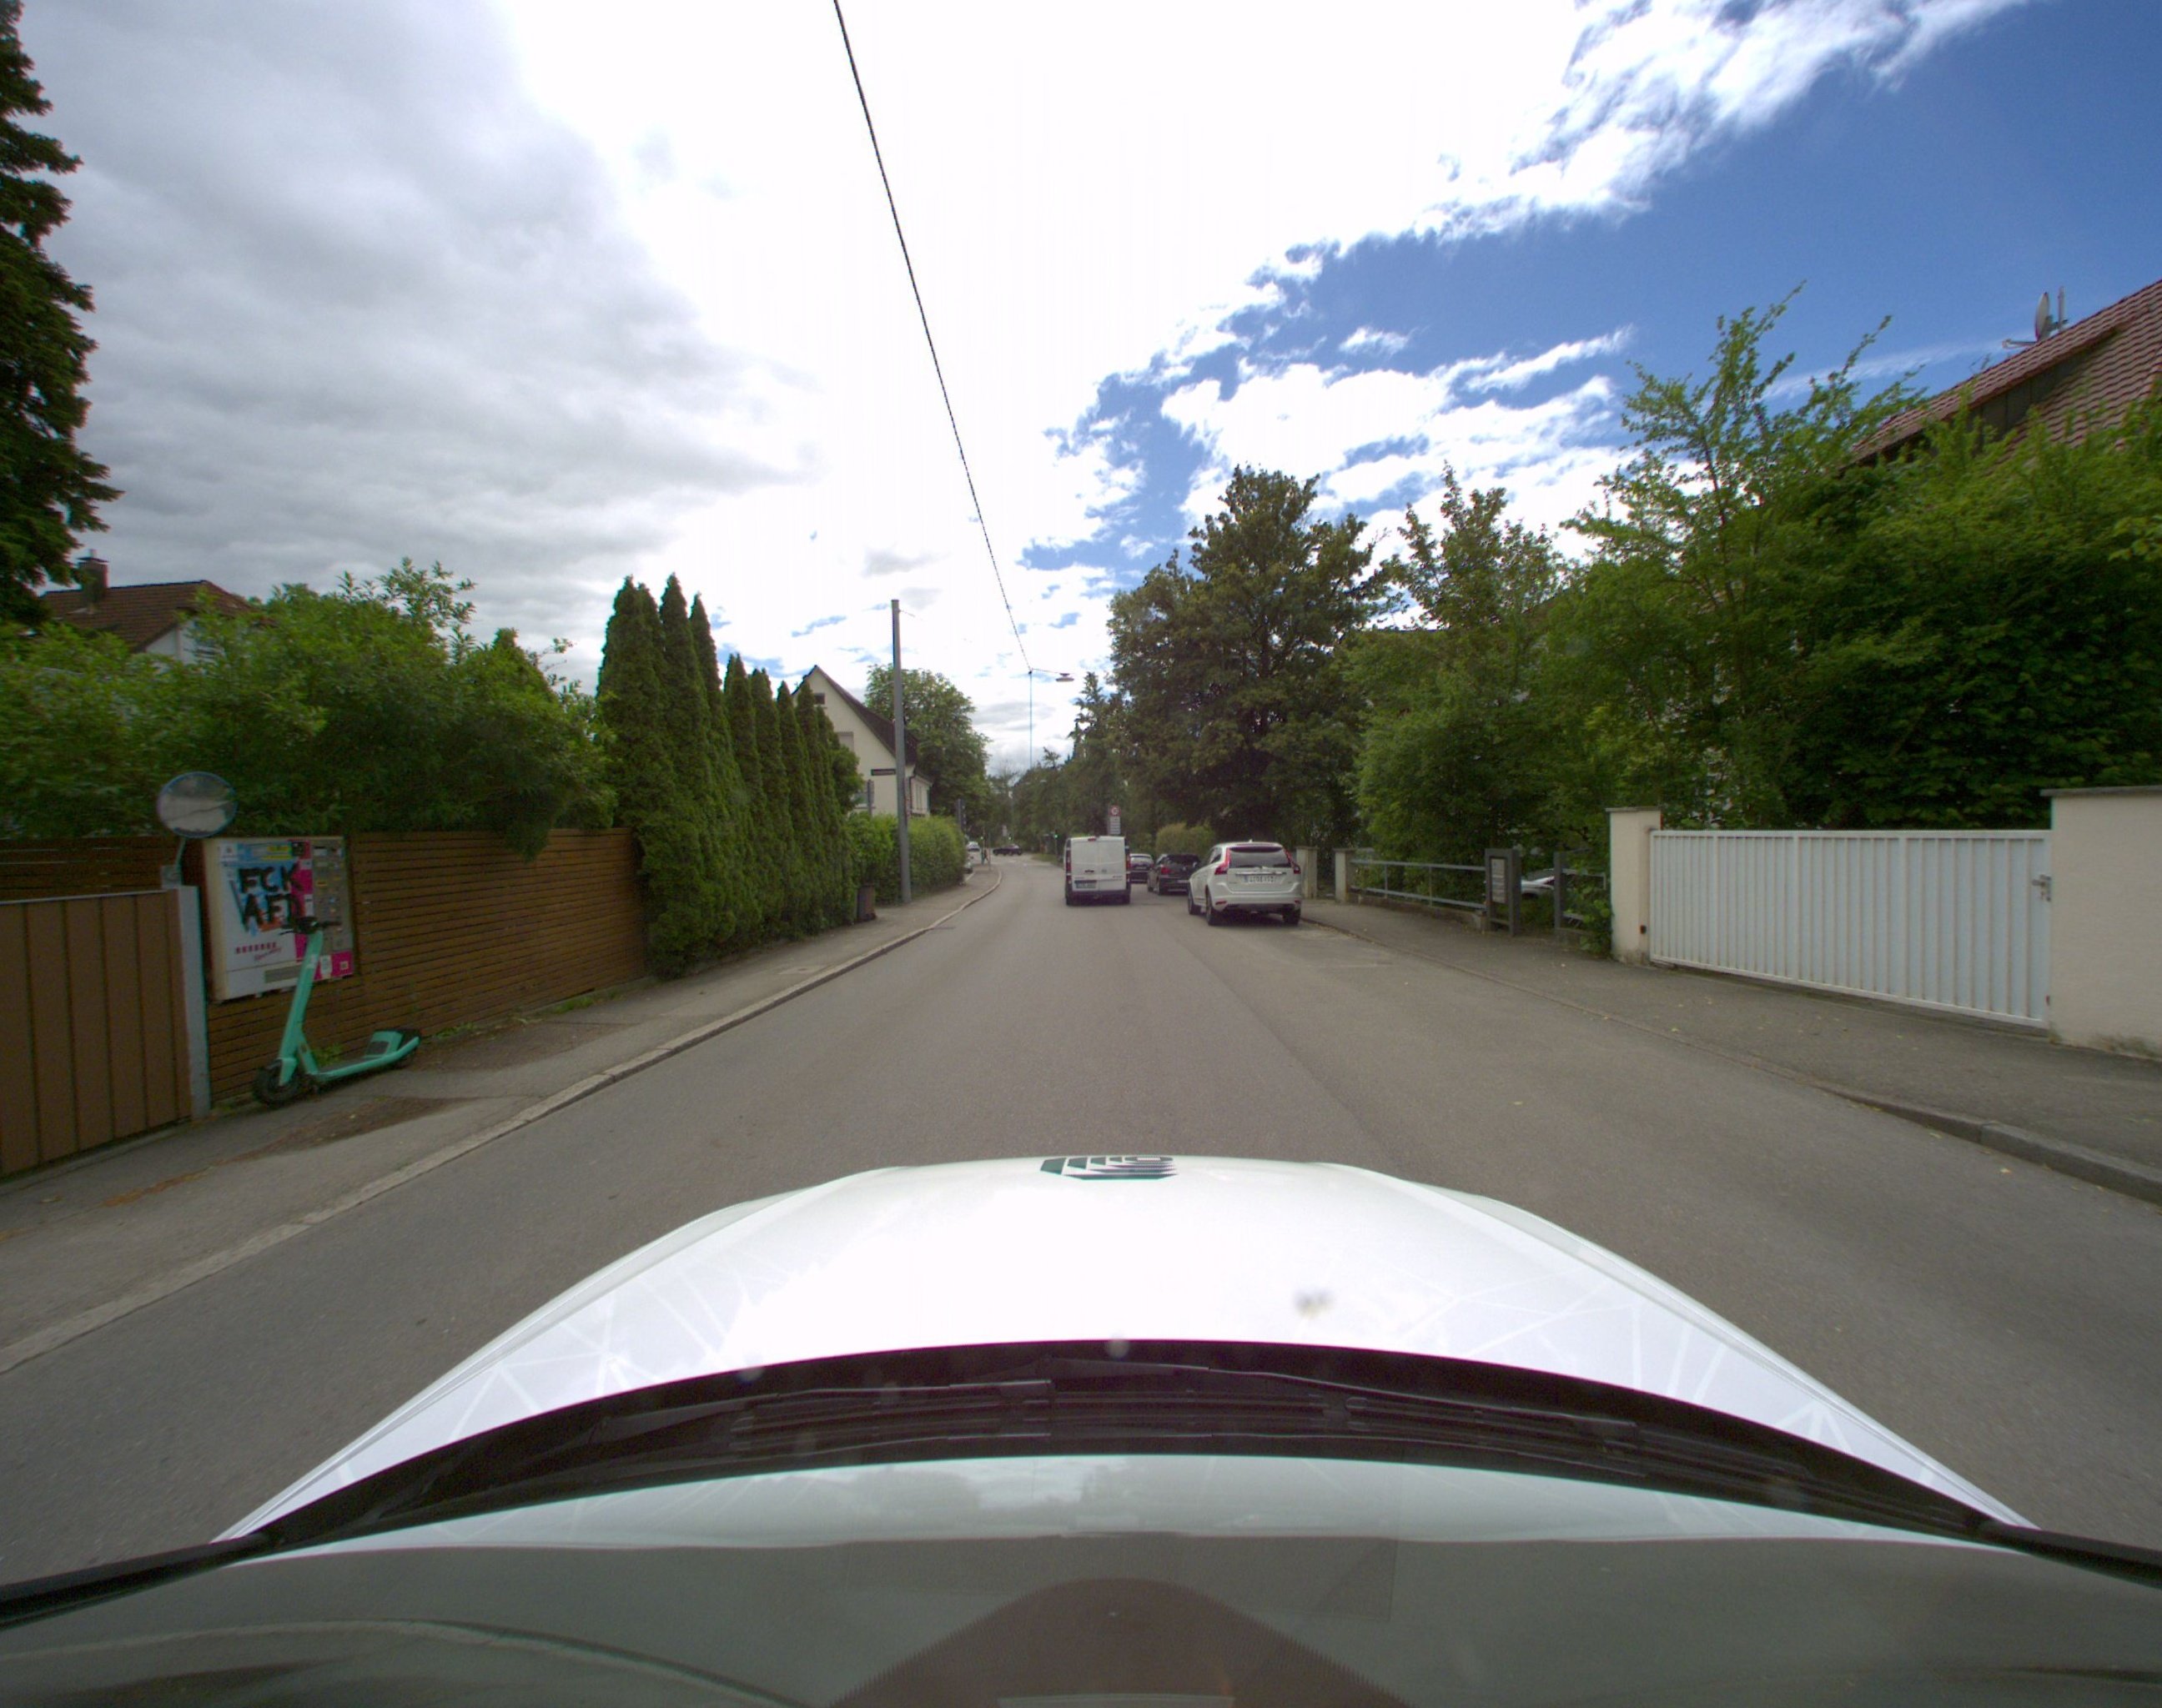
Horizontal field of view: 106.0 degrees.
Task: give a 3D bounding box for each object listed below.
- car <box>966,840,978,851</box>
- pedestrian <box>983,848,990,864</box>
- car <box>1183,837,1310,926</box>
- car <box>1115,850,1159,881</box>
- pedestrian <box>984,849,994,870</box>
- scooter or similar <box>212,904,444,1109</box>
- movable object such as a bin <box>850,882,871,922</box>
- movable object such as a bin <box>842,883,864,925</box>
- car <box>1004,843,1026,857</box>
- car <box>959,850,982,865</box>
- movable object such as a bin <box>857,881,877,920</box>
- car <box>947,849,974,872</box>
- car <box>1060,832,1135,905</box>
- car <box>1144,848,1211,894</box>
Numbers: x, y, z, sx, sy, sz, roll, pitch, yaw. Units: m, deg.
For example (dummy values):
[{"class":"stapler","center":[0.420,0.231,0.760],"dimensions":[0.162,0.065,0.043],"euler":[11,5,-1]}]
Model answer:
[{"class":"car","center":[-18.182,-1.402,136.267],"dimensions":[1.823,1.727,3.992],"euler":[-1,1,-6]},{"class":"pedestrian","center":[-9.631,0.222,82.921],"dimensions":[0.696,1.616,0.714],"euler":[-1,2,-5]},{"class":"car","center":[3.438,0.514,17.756],"dimensions":[1.859,1.685,4.350],"euler":[-1,0,0]},{"class":"car","center":[2.702,0.534,40.031],"dimensions":[1.706,1.412,3.786],"euler":[1,0,-3]},{"class":"pedestrian","center":[-7.050,0.412,62.424],"dimensions":[0.704,1.610,0.576],"euler":[-2,0,0]},{"class":"scooter or similar","center":[-5.123,0.976,5.640],"dimensions":[0.390,1.171,1.270],"euler":[-1,0,1]},{"class":"movable object such as a bin","center":[-5.078,1.102,18.782],"dimensions":[0.335,0.893,0.476],"euler":[0,0,2]},{"class":"movable object such as a bin","center":[-5.114,1.118,18.247],"dimensions":[0.335,0.893,0.476],"euler":[0,0,2]},{"class":"car","center":[-8.977,-0.607,110.942],"dimensions":[1.903,1.859,4.374],"euler":[-1,1,-20]},{"class":"car","center":[-11.073,0.303,81.908],"dimensions":[1.774,1.441,4.523],"euler":[0,0,-1]},{"class":"movable object such as a bin","center":[-5.100,1.094,19.396],"dimensions":[0.335,0.893,0.476],"euler":[0,0,2]},{"class":"car","center":[-8.403,0.437,57.042],"dimensions":[1.585,1.538,2.919],"euler":[1,1,-4]},{"class":"car","center":[0.400,0.357,24.684],"dimensions":[1.926,1.964,4.396],"euler":[-1,1,-4]},{"class":"car","center":[3.338,0.560,28.829],"dimensions":[1.706,1.487,3.786],"euler":[-1,0,-3]}]
